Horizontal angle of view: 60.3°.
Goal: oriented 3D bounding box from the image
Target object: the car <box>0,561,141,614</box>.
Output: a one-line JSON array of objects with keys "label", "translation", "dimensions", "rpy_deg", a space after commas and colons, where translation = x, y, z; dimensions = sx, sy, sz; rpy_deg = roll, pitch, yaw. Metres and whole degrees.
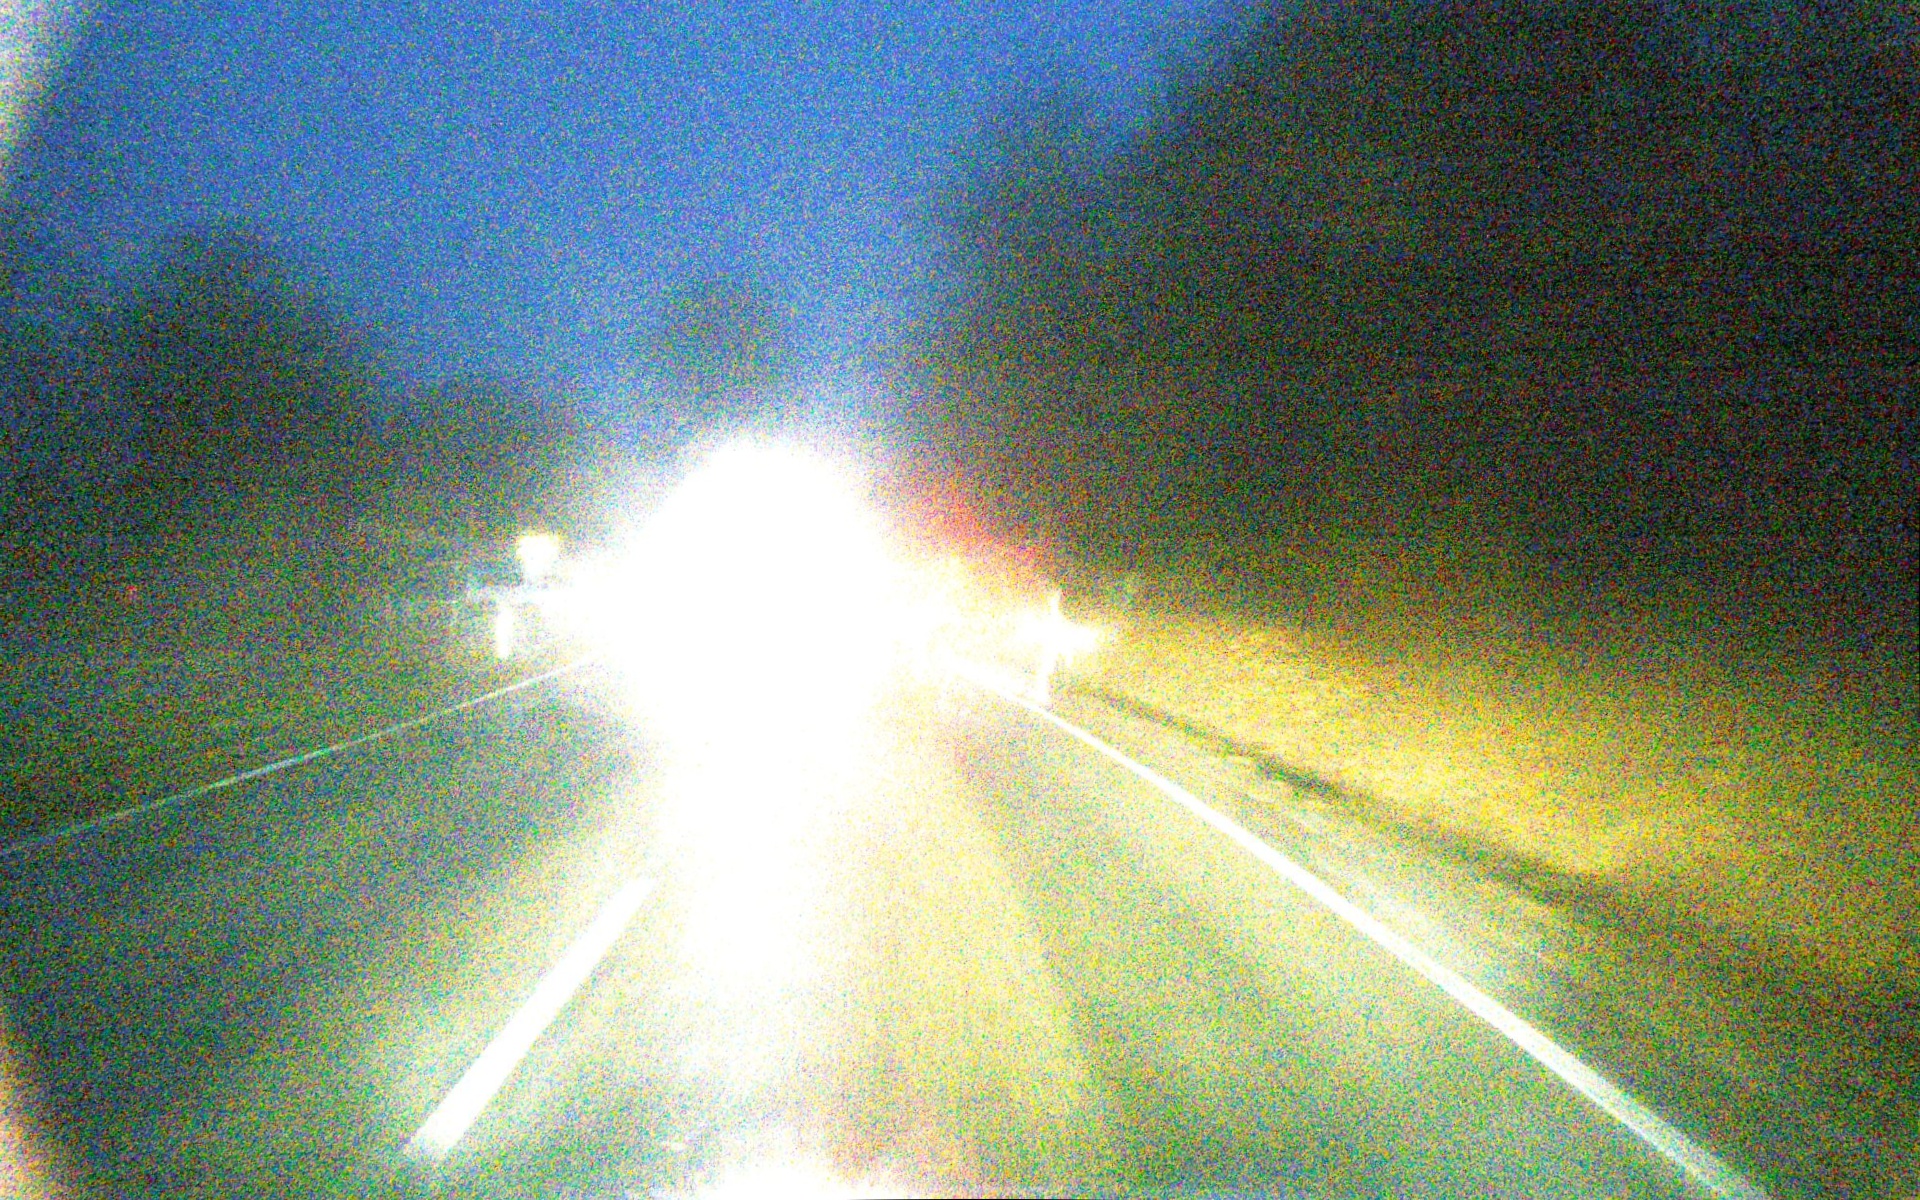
[{"label": "car", "translation": [-29.976, -0.421, 55.622], "dimensions": [4.119, 1.717, 1.672], "rpy_deg": [-1, -1, -37]}]

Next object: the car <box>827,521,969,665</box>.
[{"label": "car", "translation": [-1.276, -0.160, 32.141], "dimensions": [2.488, 2.541, 5.710], "rpy_deg": [0, 1, -4]}]

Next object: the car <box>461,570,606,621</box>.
[{"label": "car", "translation": [-15.236, -0.158, 59.274], "dimensions": [4.821, 1.765, 1.996], "rpy_deg": [0, 0, -9]}]

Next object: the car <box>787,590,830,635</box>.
[{"label": "car", "translation": [-6.552, 0.577, 71.551], "dimensions": [1.706, 1.744, 3.695], "rpy_deg": [3, -2, -5]}]

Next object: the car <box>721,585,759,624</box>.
[{"label": "car", "translation": [-10.882, 0.209, 82.029], "dimensions": [1.720, 1.764, 3.994], "rpy_deg": [3, 1, -7]}]

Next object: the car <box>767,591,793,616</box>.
[{"label": "car", "translation": [-14.499, 0.283, 133.299], "dimensions": [1.856, 1.943, 3.788], "rpy_deg": [3, -1, -8]}]

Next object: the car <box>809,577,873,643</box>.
[{"label": "car", "translation": [-4.100, 0.377, 56.463], "dimensions": [1.955, 2.049, 3.994], "rpy_deg": [3, -2, -6]}]
